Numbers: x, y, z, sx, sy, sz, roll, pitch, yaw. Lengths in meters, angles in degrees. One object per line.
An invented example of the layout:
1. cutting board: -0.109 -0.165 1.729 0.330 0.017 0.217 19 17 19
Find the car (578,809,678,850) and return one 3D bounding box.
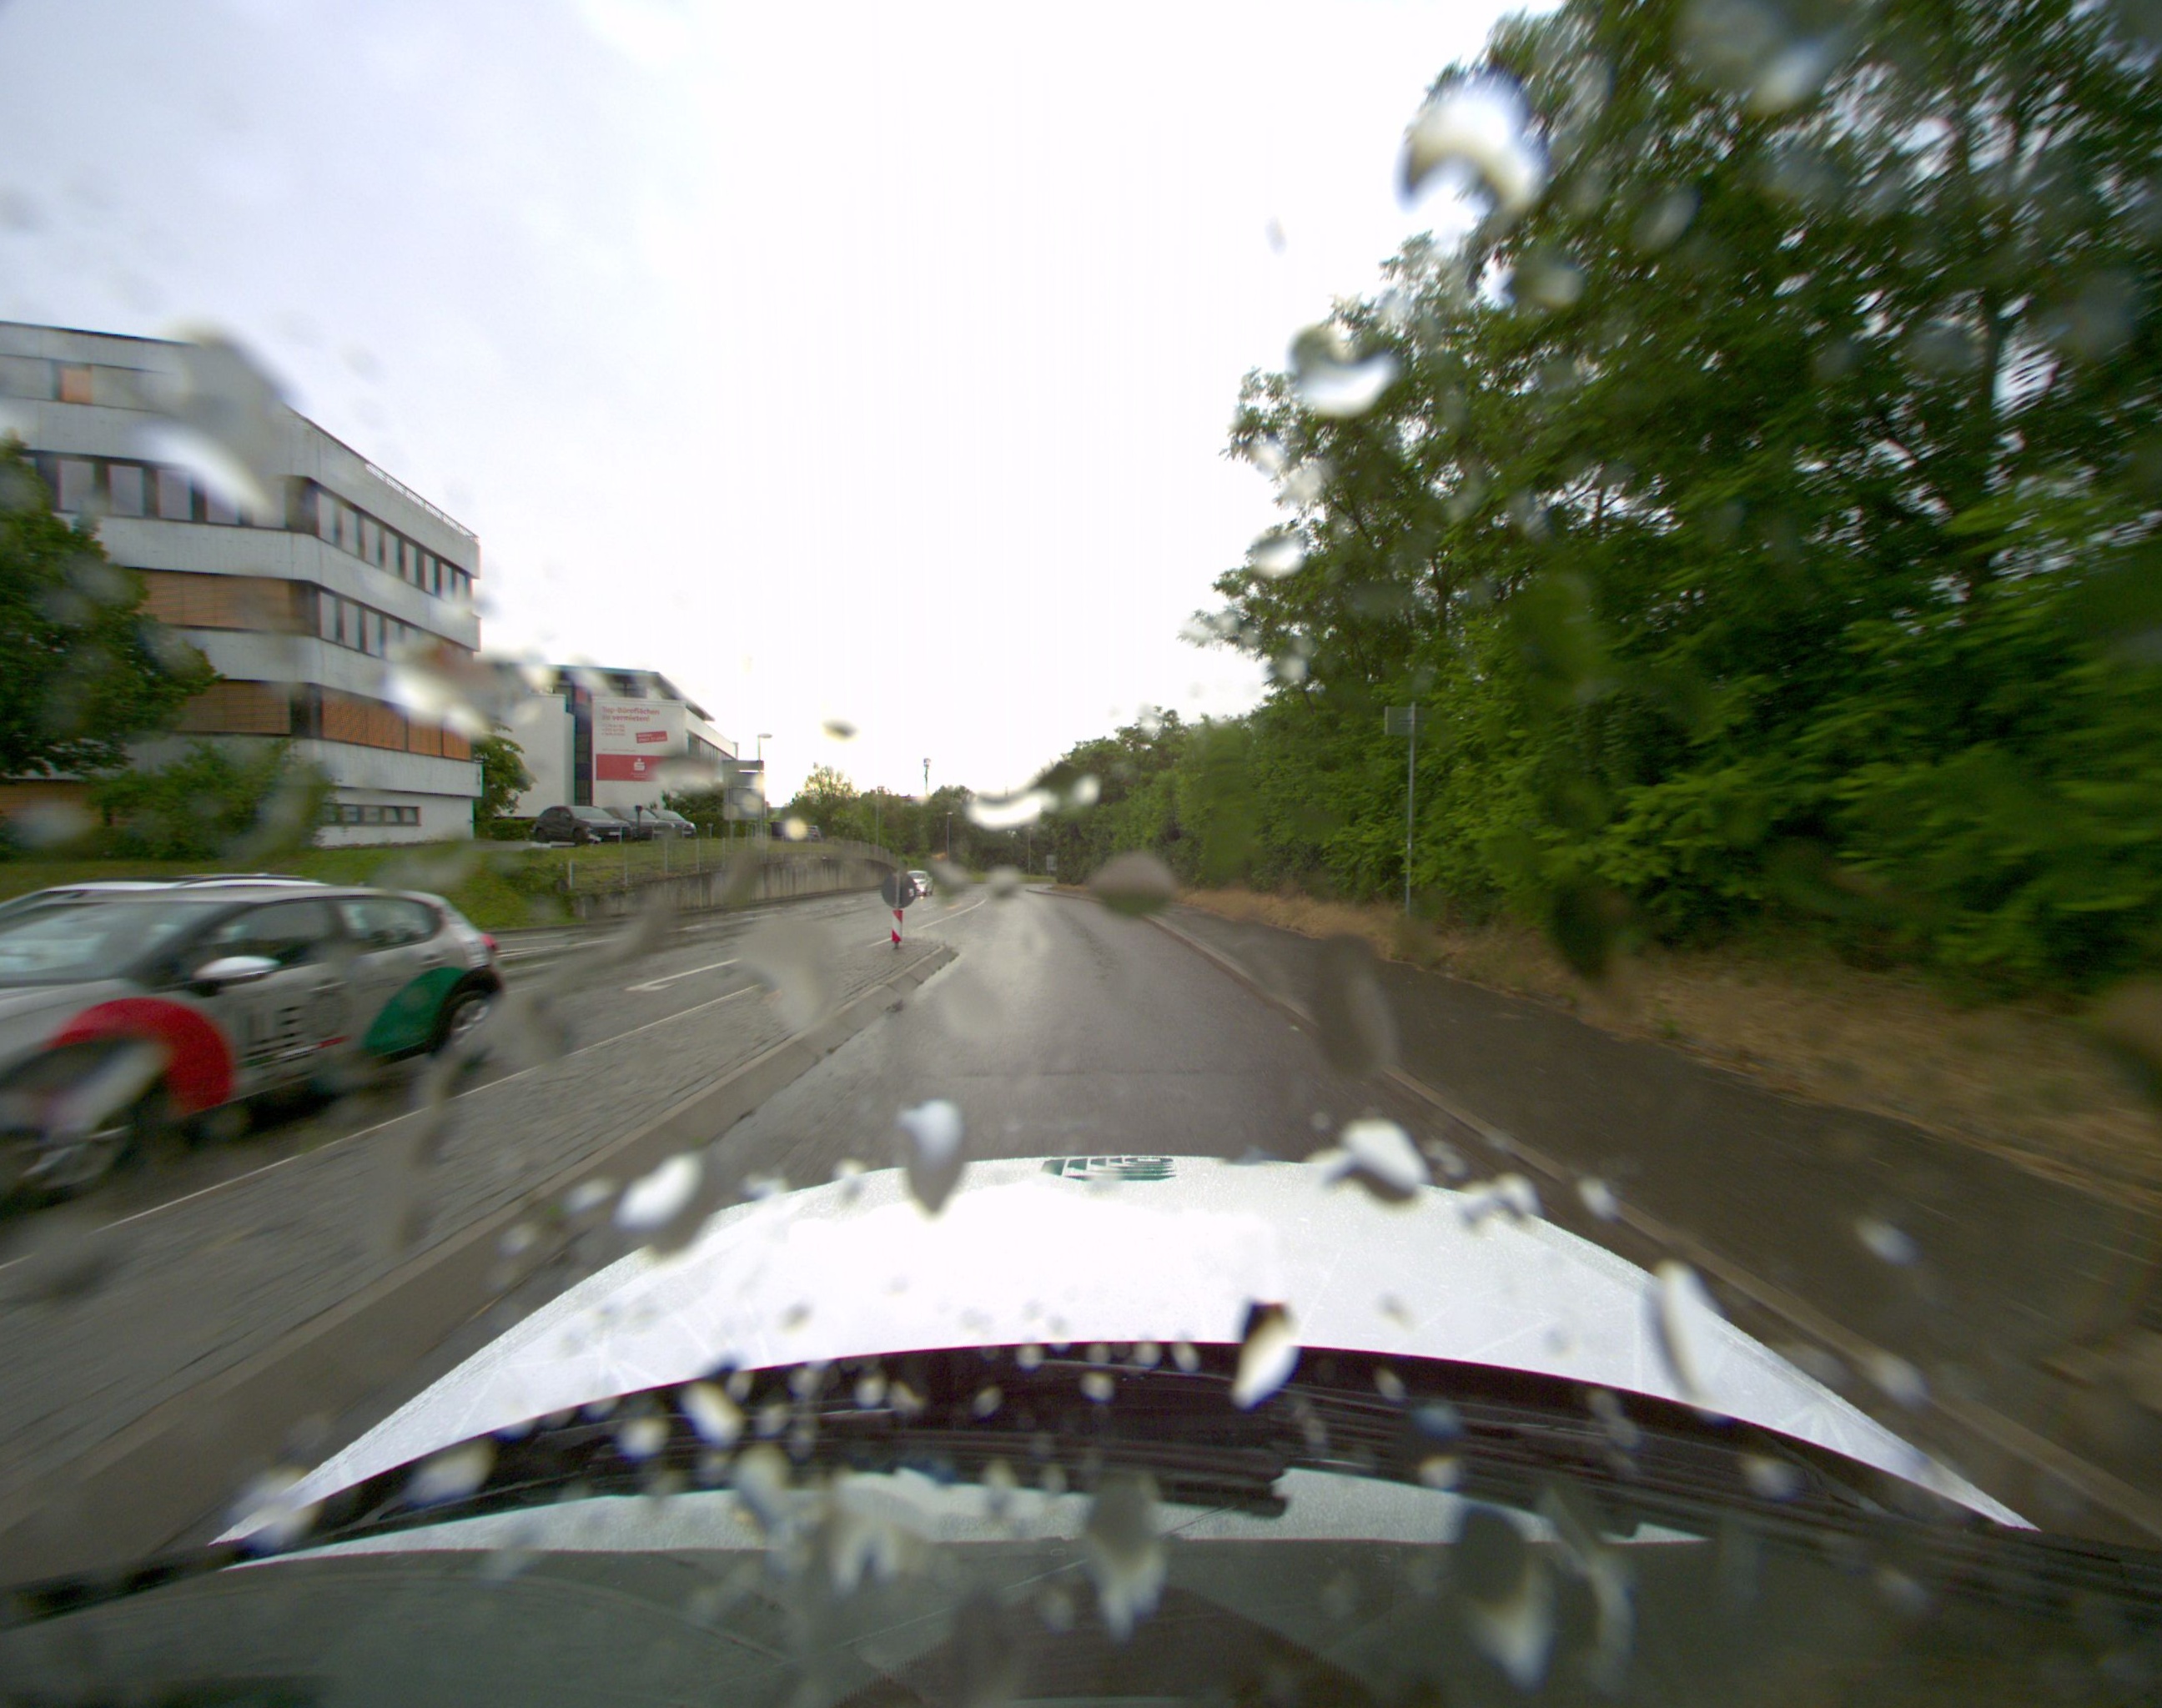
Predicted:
1. car: -19.309 -1.014 34.694 3.949 1.586 1.914 0 -2 30

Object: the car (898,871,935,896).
1. car: -10.019 1.780 49.819 1.649 1.429 3.788 0 0 -3

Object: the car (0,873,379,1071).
1. car: -9.304 0.957 7.759 1.714 1.494 3.999 0 -1 0

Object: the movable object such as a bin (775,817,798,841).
1. movable object such as a bin: -18.780 -1.576 52.027 1.083 1.437 1.442 2 -2 -9

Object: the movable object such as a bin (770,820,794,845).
1. movable object such as a bin: -18.572 -1.331 50.553 1.083 1.437 1.442 2 -2 -9

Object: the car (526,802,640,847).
1. car: -19.345 -1.115 31.634 3.950 1.586 1.913 1 -2 26

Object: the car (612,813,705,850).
1. car: -19.571 -1.006 37.694 3.949 1.586 1.914 0 -2 30

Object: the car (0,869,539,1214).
1. car: -5.616 0.862 5.158 1.656 1.494 3.999 0 -1 0

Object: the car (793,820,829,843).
1. car: -20.286 -1.684 61.339 1.826 1.442 3.987 2 -2 -9

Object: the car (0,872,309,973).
1. car: -16.320 1.078 14.018 1.880 1.456 4.025 -1 0 31
